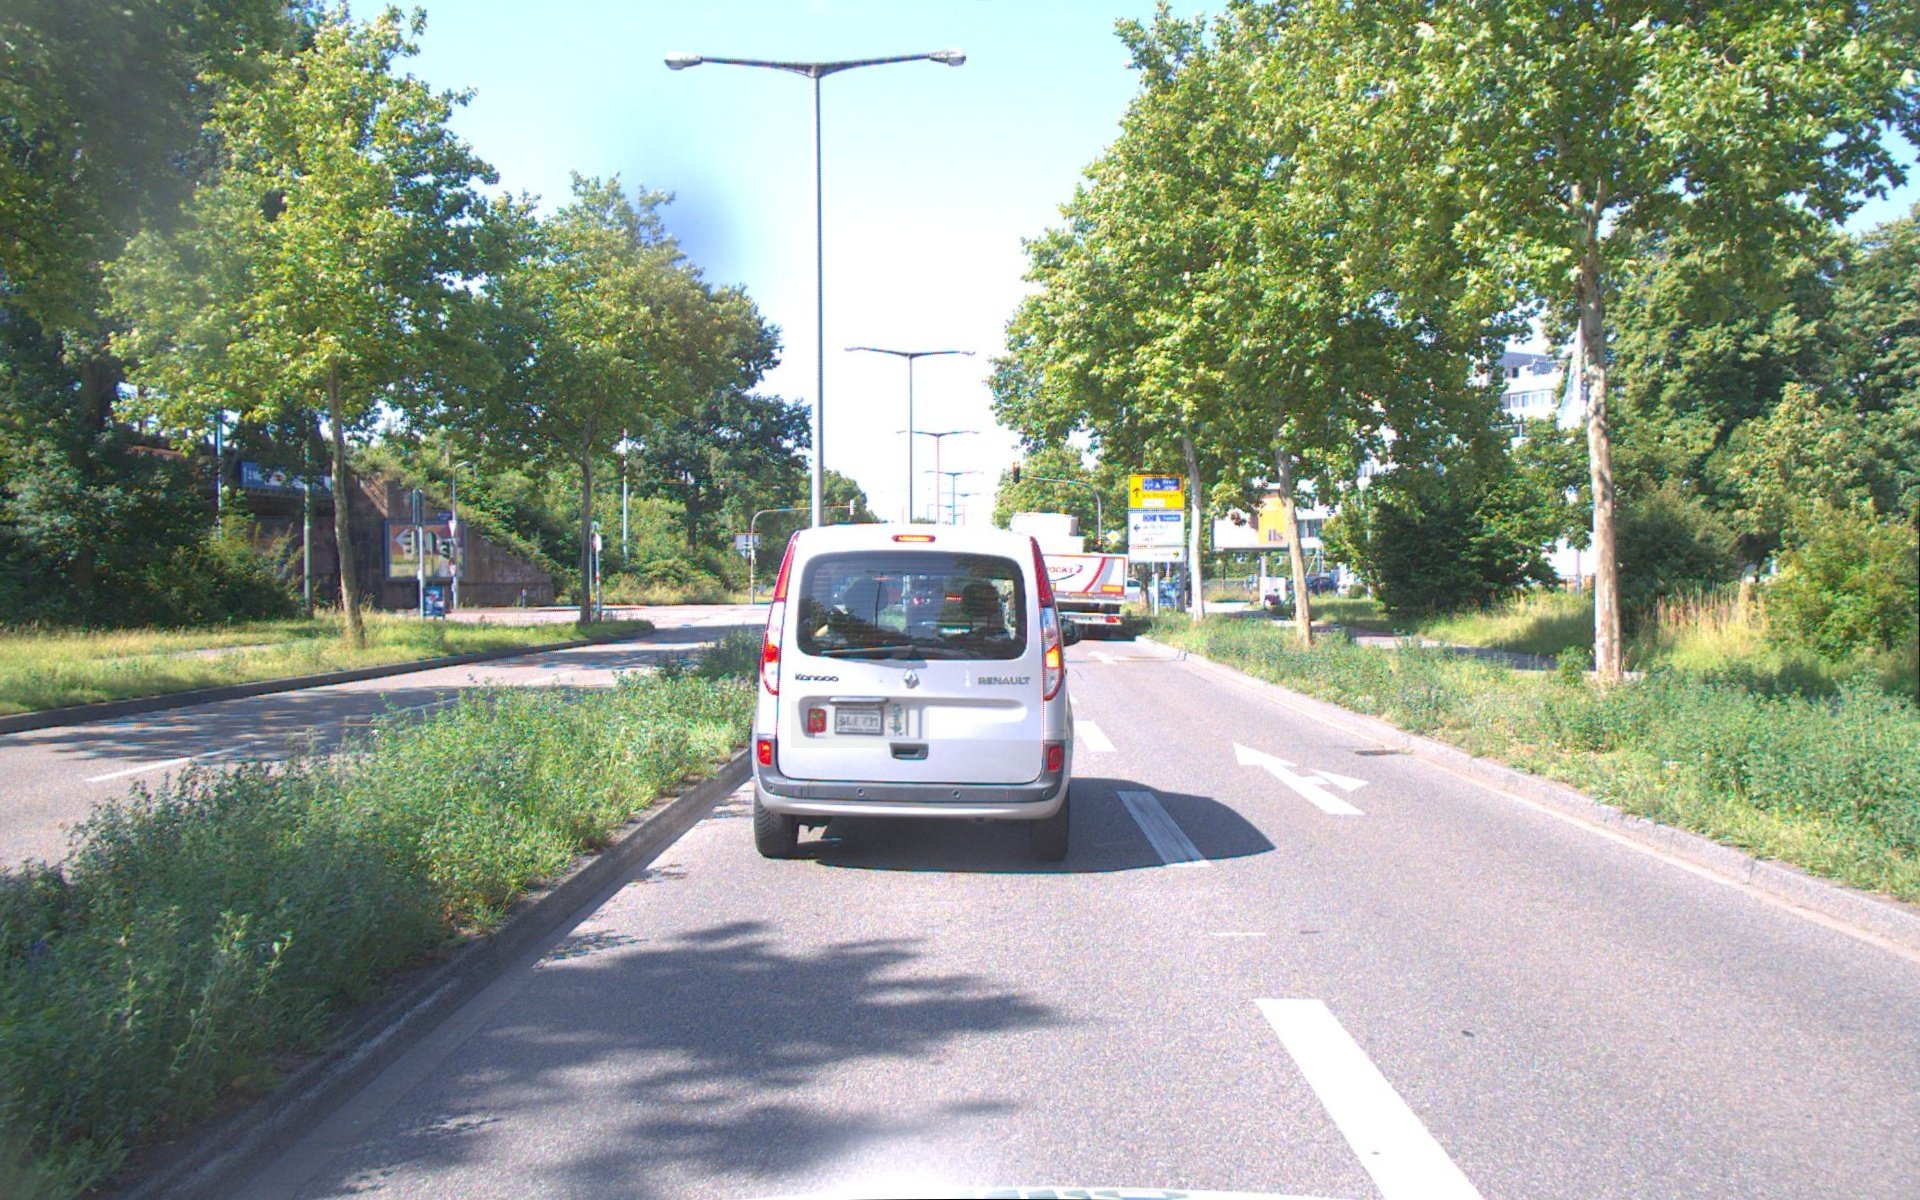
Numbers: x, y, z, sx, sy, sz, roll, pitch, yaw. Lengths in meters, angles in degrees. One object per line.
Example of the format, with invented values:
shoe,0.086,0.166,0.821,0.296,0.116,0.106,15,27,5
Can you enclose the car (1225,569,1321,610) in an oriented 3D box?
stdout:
car,13.572,-0.457,71.824,3.903,1.691,1.724,1,0,5

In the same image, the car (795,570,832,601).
car,-9.568,-0.950,108.251,1.953,1.924,4.987,-2,0,-1

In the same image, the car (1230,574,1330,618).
car,13.254,-0.165,68.602,3.903,1.691,1.724,1,0,5

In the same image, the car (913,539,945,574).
car,-1.944,-2.710,103.667,1.680,2.049,3.996,1,0,-5

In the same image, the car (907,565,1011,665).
car,-0.079,0.243,30.969,1.773,1.713,3.998,1,0,-2

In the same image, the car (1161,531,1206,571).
car,10.746,-2.338,79.772,1.778,1.826,3.444,1,0,1

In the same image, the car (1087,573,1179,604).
car,8.735,-0.563,83.222,4.386,1.452,1.716,1,0,-27

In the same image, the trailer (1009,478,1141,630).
trailer,3.115,-1.212,48.291,2.954,3.806,12.240,1,0,0

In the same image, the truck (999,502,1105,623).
truck,3.026,-1.222,56.572,3.009,3.823,7.475,1,0,-1

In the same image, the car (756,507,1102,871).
car,-0.170,0.437,10.318,1.713,1.803,3.949,1,0,-1
